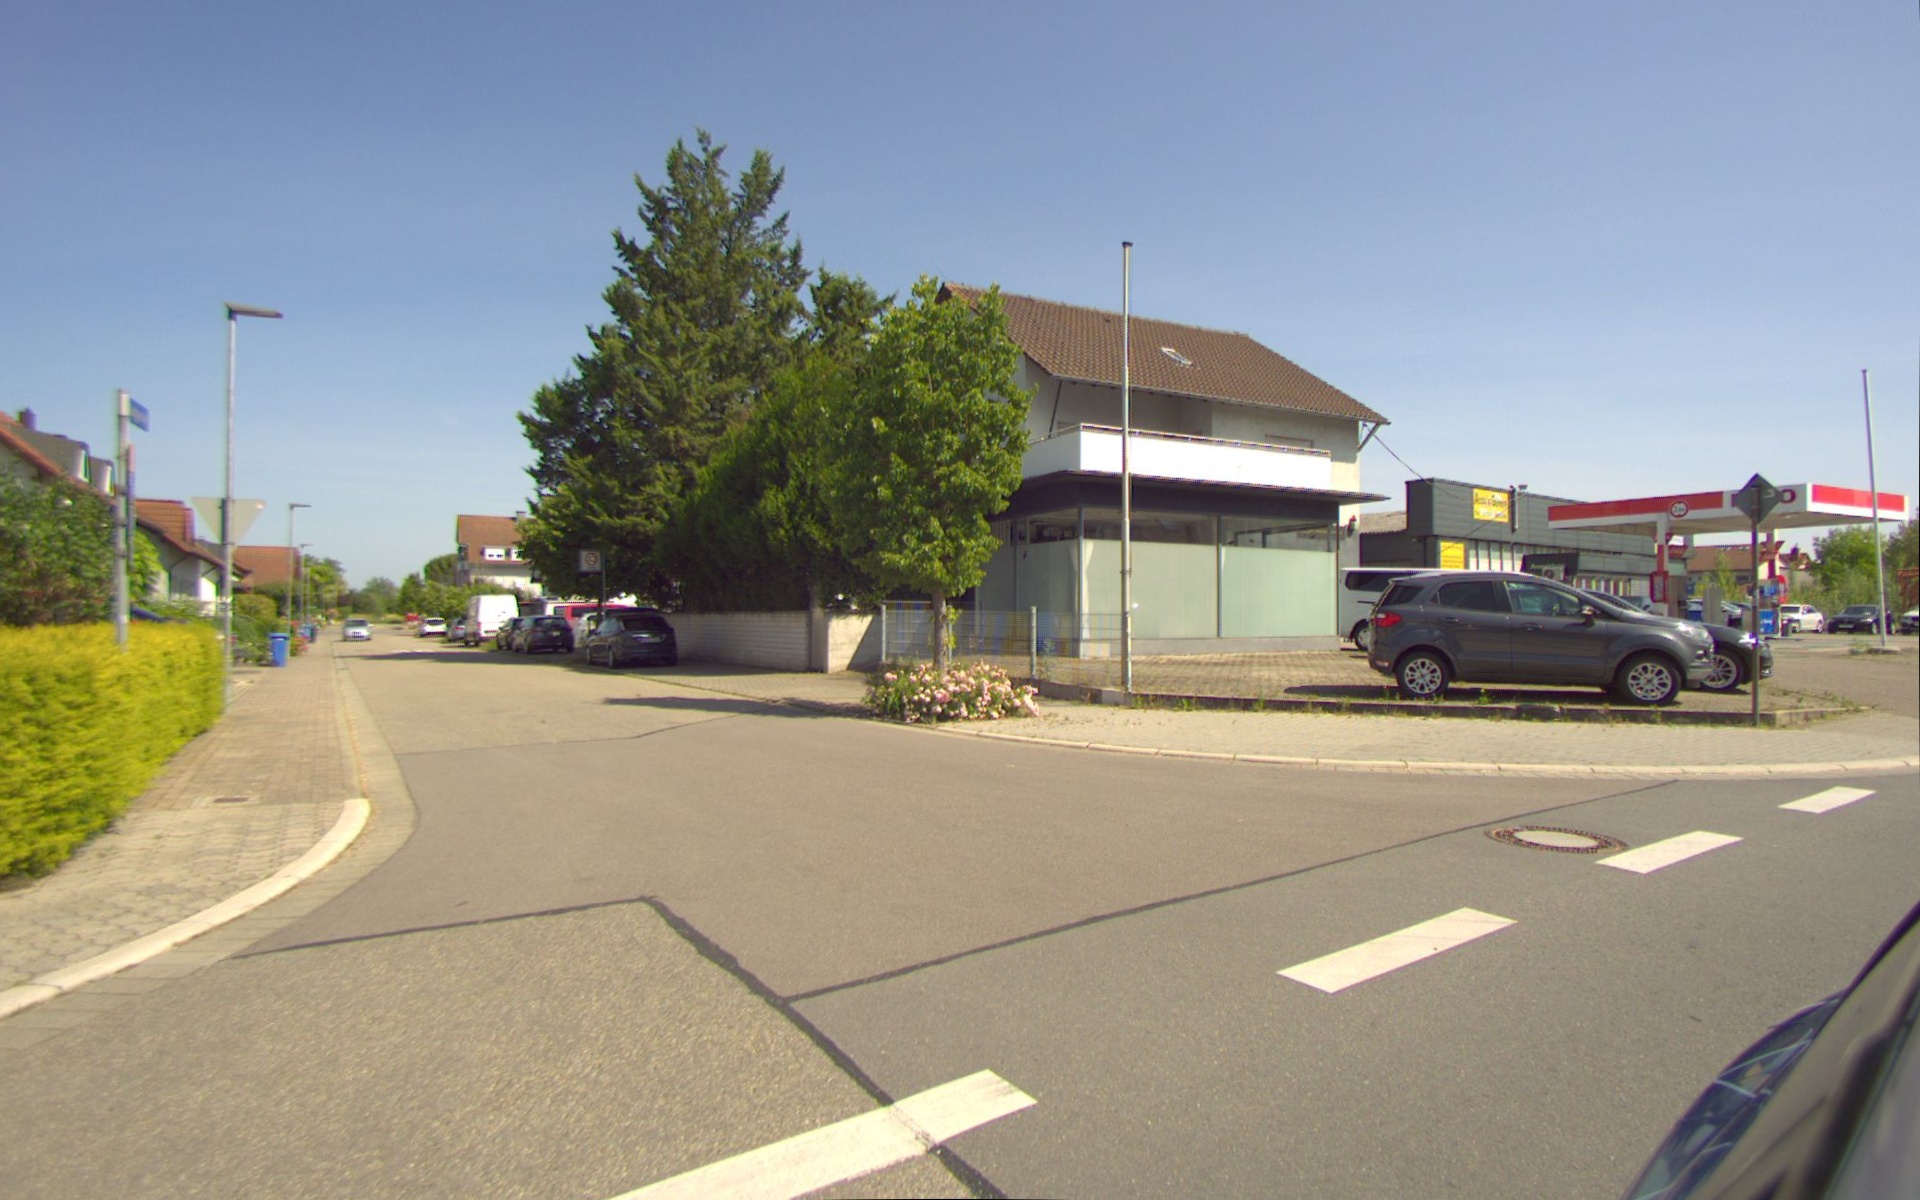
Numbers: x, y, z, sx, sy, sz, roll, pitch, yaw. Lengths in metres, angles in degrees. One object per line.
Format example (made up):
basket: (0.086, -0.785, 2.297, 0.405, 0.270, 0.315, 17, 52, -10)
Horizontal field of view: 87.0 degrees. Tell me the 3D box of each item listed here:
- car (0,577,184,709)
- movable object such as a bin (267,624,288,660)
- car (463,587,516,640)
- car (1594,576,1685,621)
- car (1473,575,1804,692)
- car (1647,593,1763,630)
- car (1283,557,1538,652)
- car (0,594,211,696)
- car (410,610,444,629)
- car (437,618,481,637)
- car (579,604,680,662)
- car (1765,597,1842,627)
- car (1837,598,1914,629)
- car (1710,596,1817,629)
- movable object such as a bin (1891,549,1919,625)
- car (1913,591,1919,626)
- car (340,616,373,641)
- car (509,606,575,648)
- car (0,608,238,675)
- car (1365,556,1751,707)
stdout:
car: (-12.714, 0.568, 13.664, 3.407, 1.693, 1.640, 0, -2, -33)
movable object such as a bin: (-19.221, 1.184, 28.497, 0.454, 0.992, 0.388, 0, -2, -30)
car: (-23.921, 0.692, 51.383, 1.811, 2.569, 3.903, 0, -1, -35)
car: (28.838, -0.041, 42.906, 4.729, 1.763, 1.809, 2, -1, -38)
car: (9.782, 0.412, 14.992, 3.838, 1.465, 1.734, 2, 1, 29)
car: (36.100, 0.517, 49.159, 1.776, 1.654, 4.158, 0, 1, -31)
car: (10.787, 0.024, 24.434, 5.256, 2.039, 2.202, 2, 1, 37)
car: (-14.308, 0.689, 16.380, 3.407, 1.540, 1.625, 0, -2, -33)
car: (-40.743, 1.471, 77.340, 1.638, 1.216, 3.813, 0, 2, -37)
car: (-30.415, 1.665, 61.419, 1.811, 1.138, 3.903, 0, -1, -35)
car: (-9.243, 0.896, 28.161, 1.608, 1.499, 3.903, 0, -1, -35)
car: (42.951, 0.572, 51.500, 4.291, 1.404, 1.848, 0, 1, -34)
car: (44.118, 0.619, 48.737, 3.923, 1.404, 1.848, 0, 1, -34)
car: (39.215, 0.583, 49.445, 1.776, 1.492, 3.694, 0, 1, -31)
movable object such as a bin: (55.870, -0.488, 48.813, 2.717, 4.068, 16.129, 1, 1, -28)
car: (45.866, 0.407, 46.594, 4.255, 1.612, 2.006, 0, 1, -34)
car: (-40.623, 1.894, 68.118, 1.608, 1.557, 3.904, 0, 1, -35)
car: (-16.476, 1.057, 39.823, 1.608, 1.557, 3.903, 0, -1, -35)
car: (-20.081, 0.948, 24.358, 4.302, 1.448, 1.698, 0, -1, -33)
car: (7.504, 0.319, 13.230, 4.068, 1.674, 1.817, 2, 1, 23)
